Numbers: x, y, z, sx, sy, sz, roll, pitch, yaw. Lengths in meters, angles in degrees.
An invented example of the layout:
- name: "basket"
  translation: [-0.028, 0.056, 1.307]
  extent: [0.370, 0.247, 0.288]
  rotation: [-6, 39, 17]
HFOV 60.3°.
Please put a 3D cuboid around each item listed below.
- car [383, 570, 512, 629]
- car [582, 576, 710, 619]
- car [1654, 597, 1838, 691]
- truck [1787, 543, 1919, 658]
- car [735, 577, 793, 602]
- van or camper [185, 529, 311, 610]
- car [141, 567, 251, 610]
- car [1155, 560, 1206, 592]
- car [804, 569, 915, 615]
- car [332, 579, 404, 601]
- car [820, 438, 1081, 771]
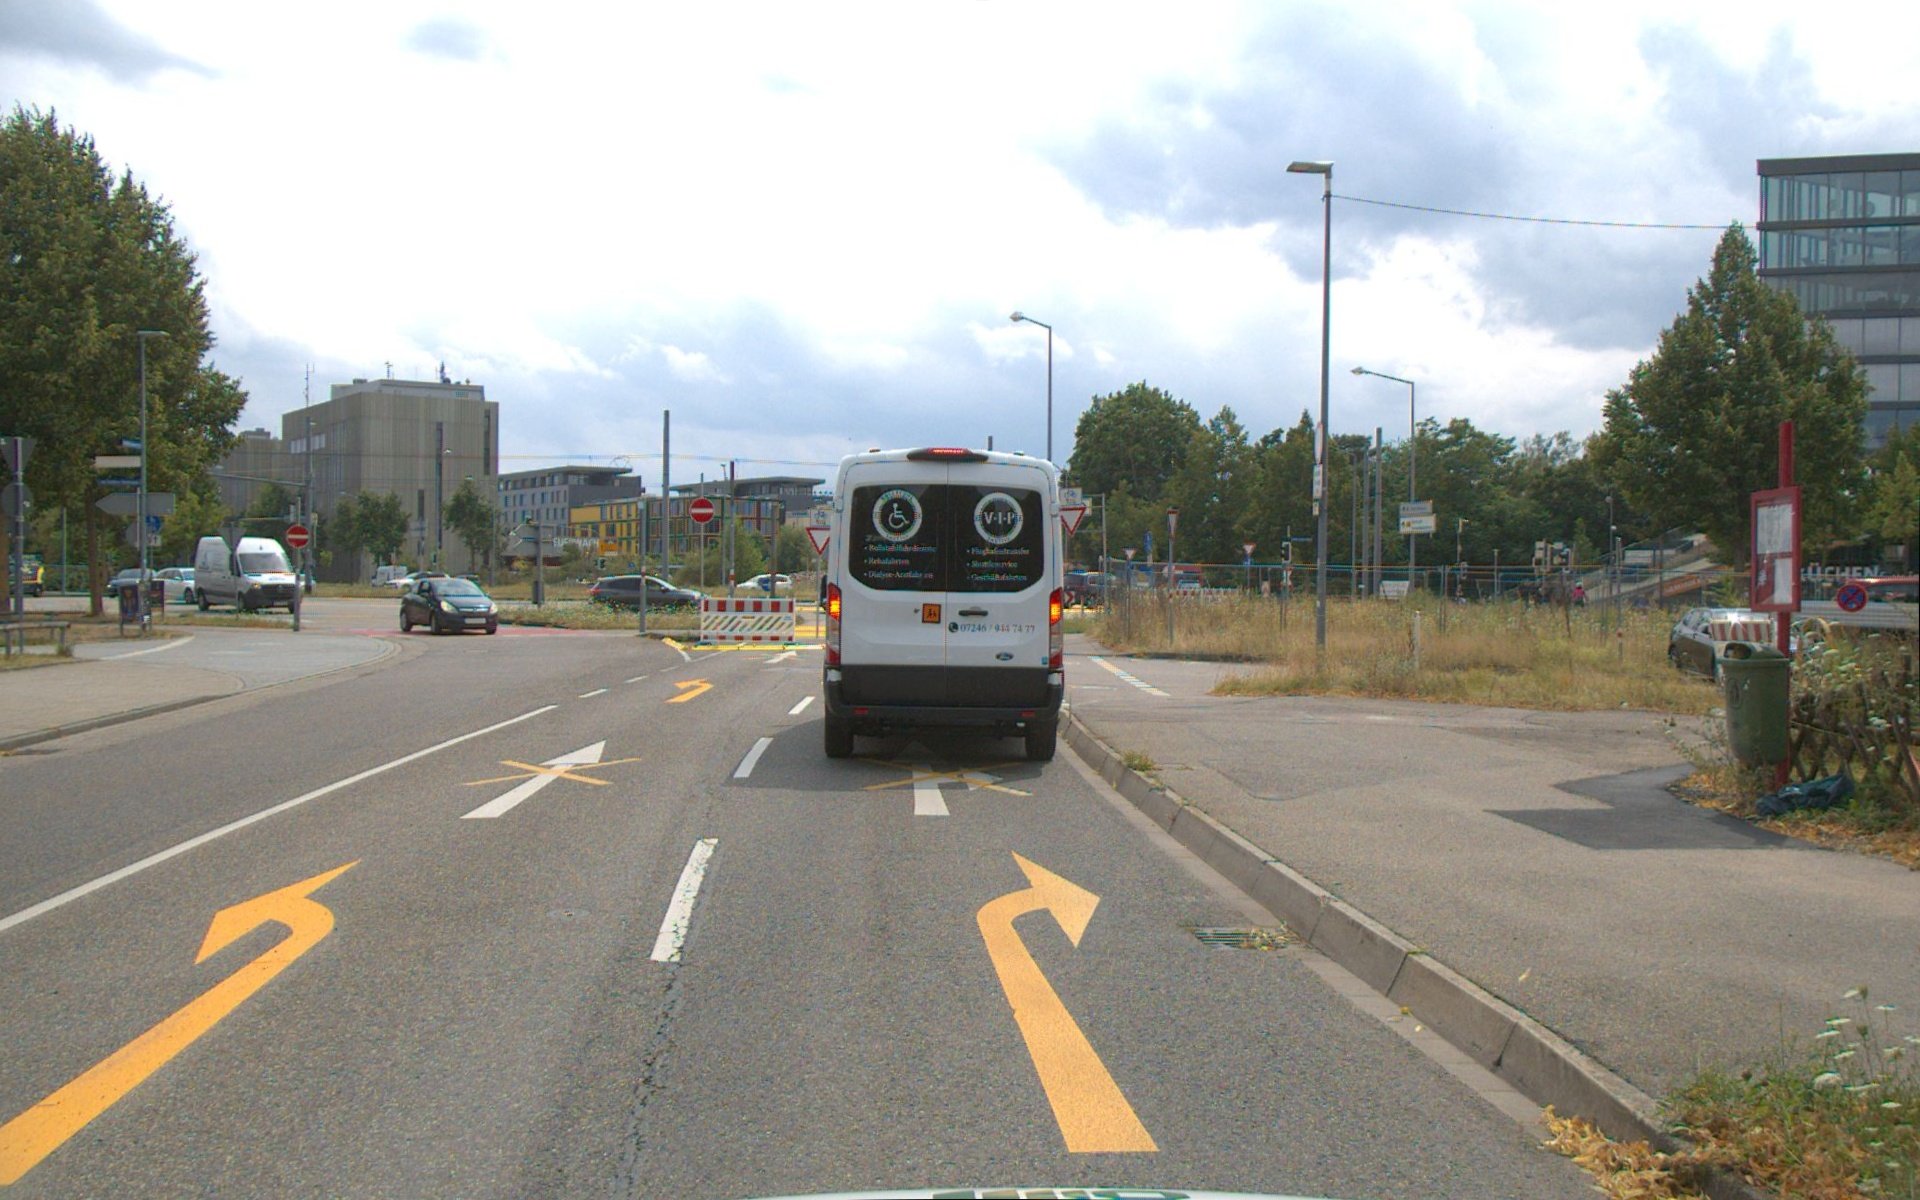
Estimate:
- name: "car"
  translation: [-13.842, -0.048, 44.524]
  extent: [1.762, 1.504, 4.192]
  rotation: [0, 1, -42]
- name: "car"
  translation: [-11.158, -0.104, 58.940]
  extent: [4.254, 1.377, 1.622]
  rotation: [-1, 1, -2]
- name: "car"
  translation: [14.847, 0.776, 31.500]
  extent: [1.812, 1.523, 4.339]
  rotation: [-1, 1, 6]
- name: "truck"
  translation: [22.034, 0.016, 36.594]
  extent: [6.528, 2.468, 2.532]
  rotation: [1, 1, 25]
- name: "car"
  translation: [-14.591, -0.795, 123.427]
  extent: [3.956, 1.802, 1.745]
  rotation: [-2, 2, -36]
- name: "van or camper"
  translation: [-25.651, -1.104, 59.454]
  extent: [2.141, 2.772, 6.177]
  rotation: [-2, 2, -44]
- name: "car"
  translation: [-30.501, -0.477, 65.981]
  extent: [4.944, 1.606, 1.858]
  rotation: [2, 1, 37]
- name: "car"
  translation: [13.211, -1.446, 99.317]
  extent: [1.968, 1.848, 4.406]
  rotation: [-1, 1, -6]
- name: "car"
  translation: [-3.927, -0.333, 64.625]
  extent: [3.933, 1.691, 1.878]
  rotation: [-2, 1, -23]
- name: "car"
  translation: [-37.285, -0.634, 104.147]
  extent: [3.961, 1.213, 1.662]
  rotation: [-2, 2, -39]
- name: "car"
  translation: [-0.116, 0.002, 14.893]
  extent: [2.021, 2.584, 3.999]
  rotation: [0, 1, -1]
